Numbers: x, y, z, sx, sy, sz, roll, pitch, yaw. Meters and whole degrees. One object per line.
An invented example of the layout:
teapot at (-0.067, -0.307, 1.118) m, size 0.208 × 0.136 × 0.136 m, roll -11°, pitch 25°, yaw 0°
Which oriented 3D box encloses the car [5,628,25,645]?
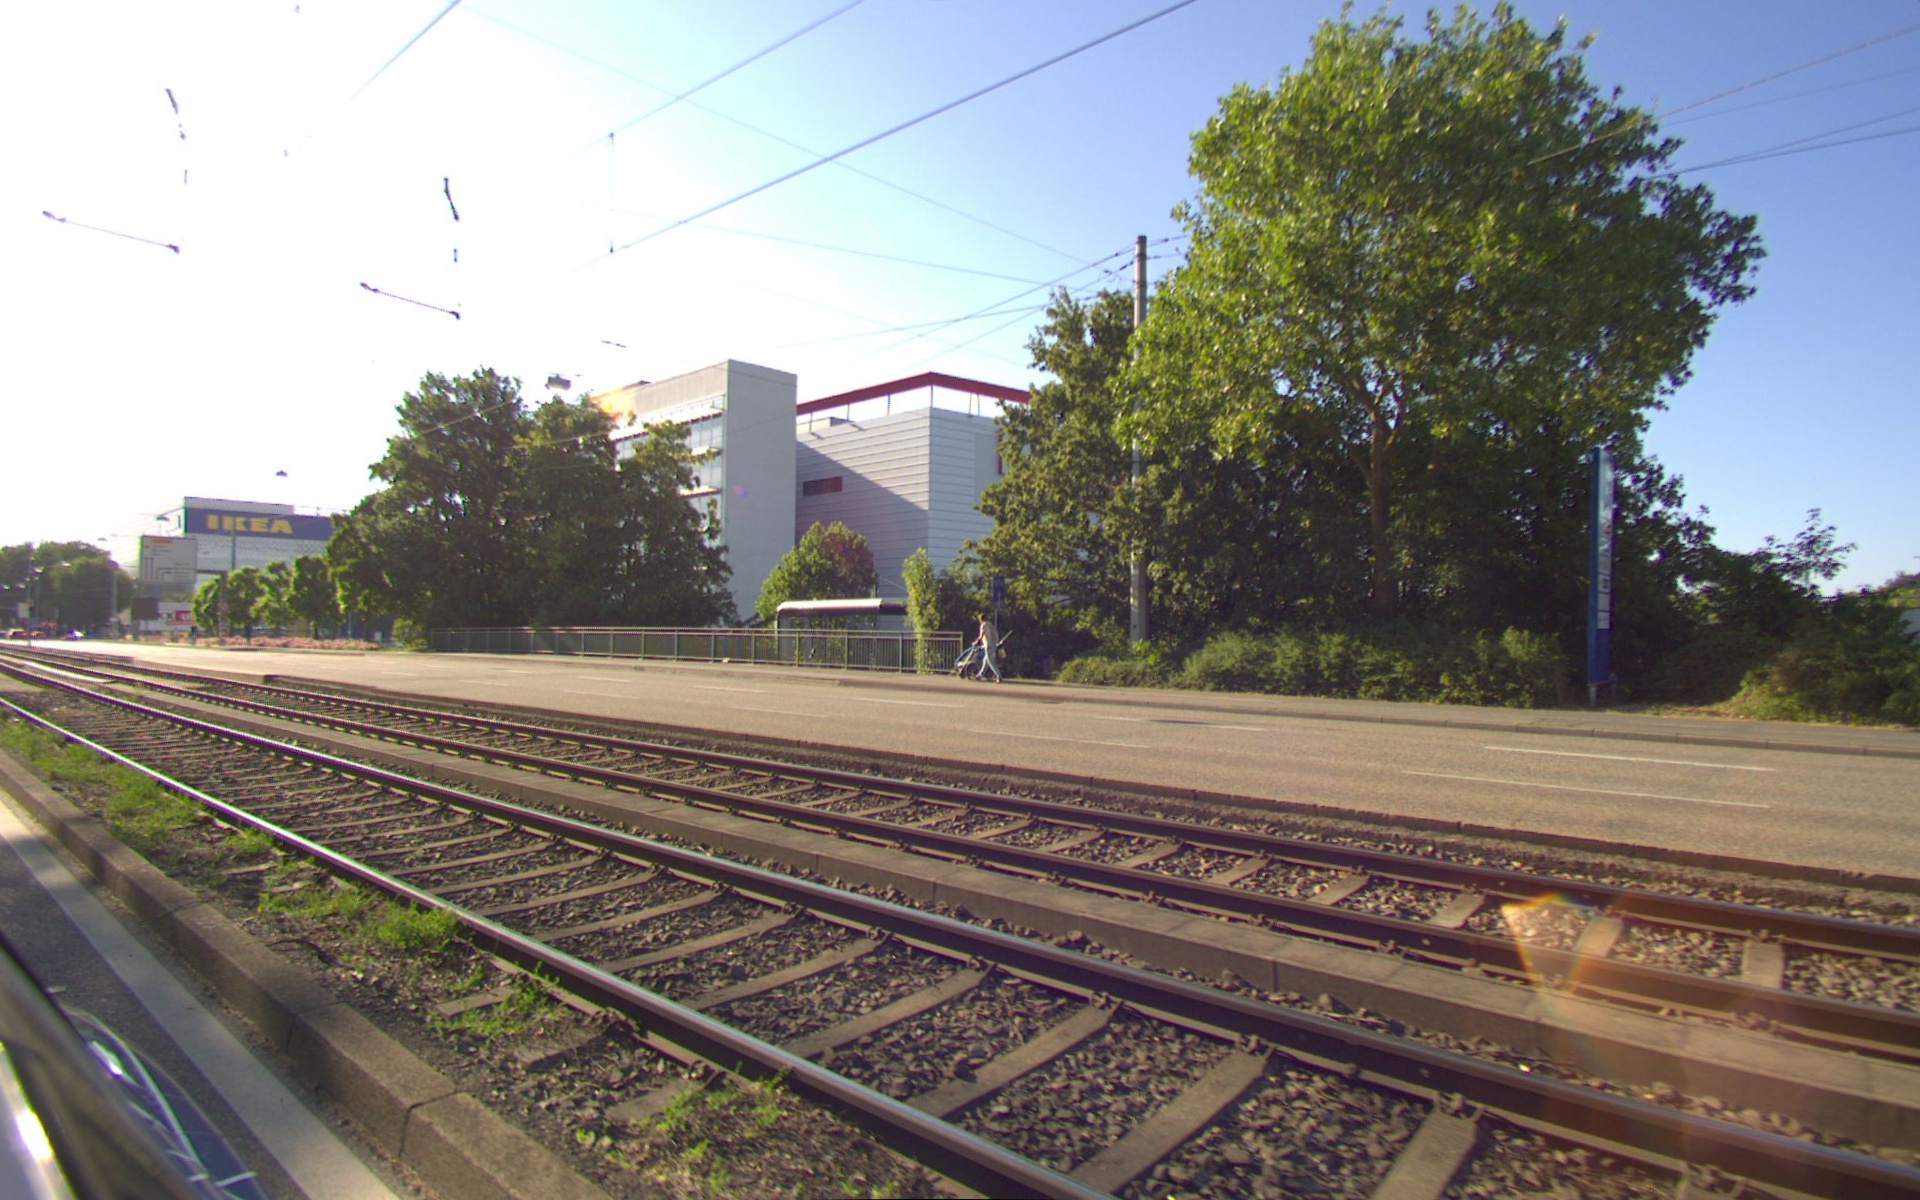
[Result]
car at (-132.379, 5.093, 141.785) m, size 1.970 × 2.312 × 4.004 m, roll -1°, pitch 0°, yaw -42°

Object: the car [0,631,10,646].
car at (-153.362, 6.178, 161.906) m, size 1.970 × 2.312 × 4.004 m, roll -1°, pitch 0°, yaw -42°

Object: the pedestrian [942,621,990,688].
pedestrian at (0.148, 1.369, 25.933) m, size 1.083 × 1.660 × 0.606 m, roll -1°, pitch 0°, yaw 41°

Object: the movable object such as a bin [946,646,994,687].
movable object such as a bin at (0.258, 1.688, 25.832) m, size 1.083 × 0.973 × 0.606 m, roll -1°, pitch 0°, yaw 41°
